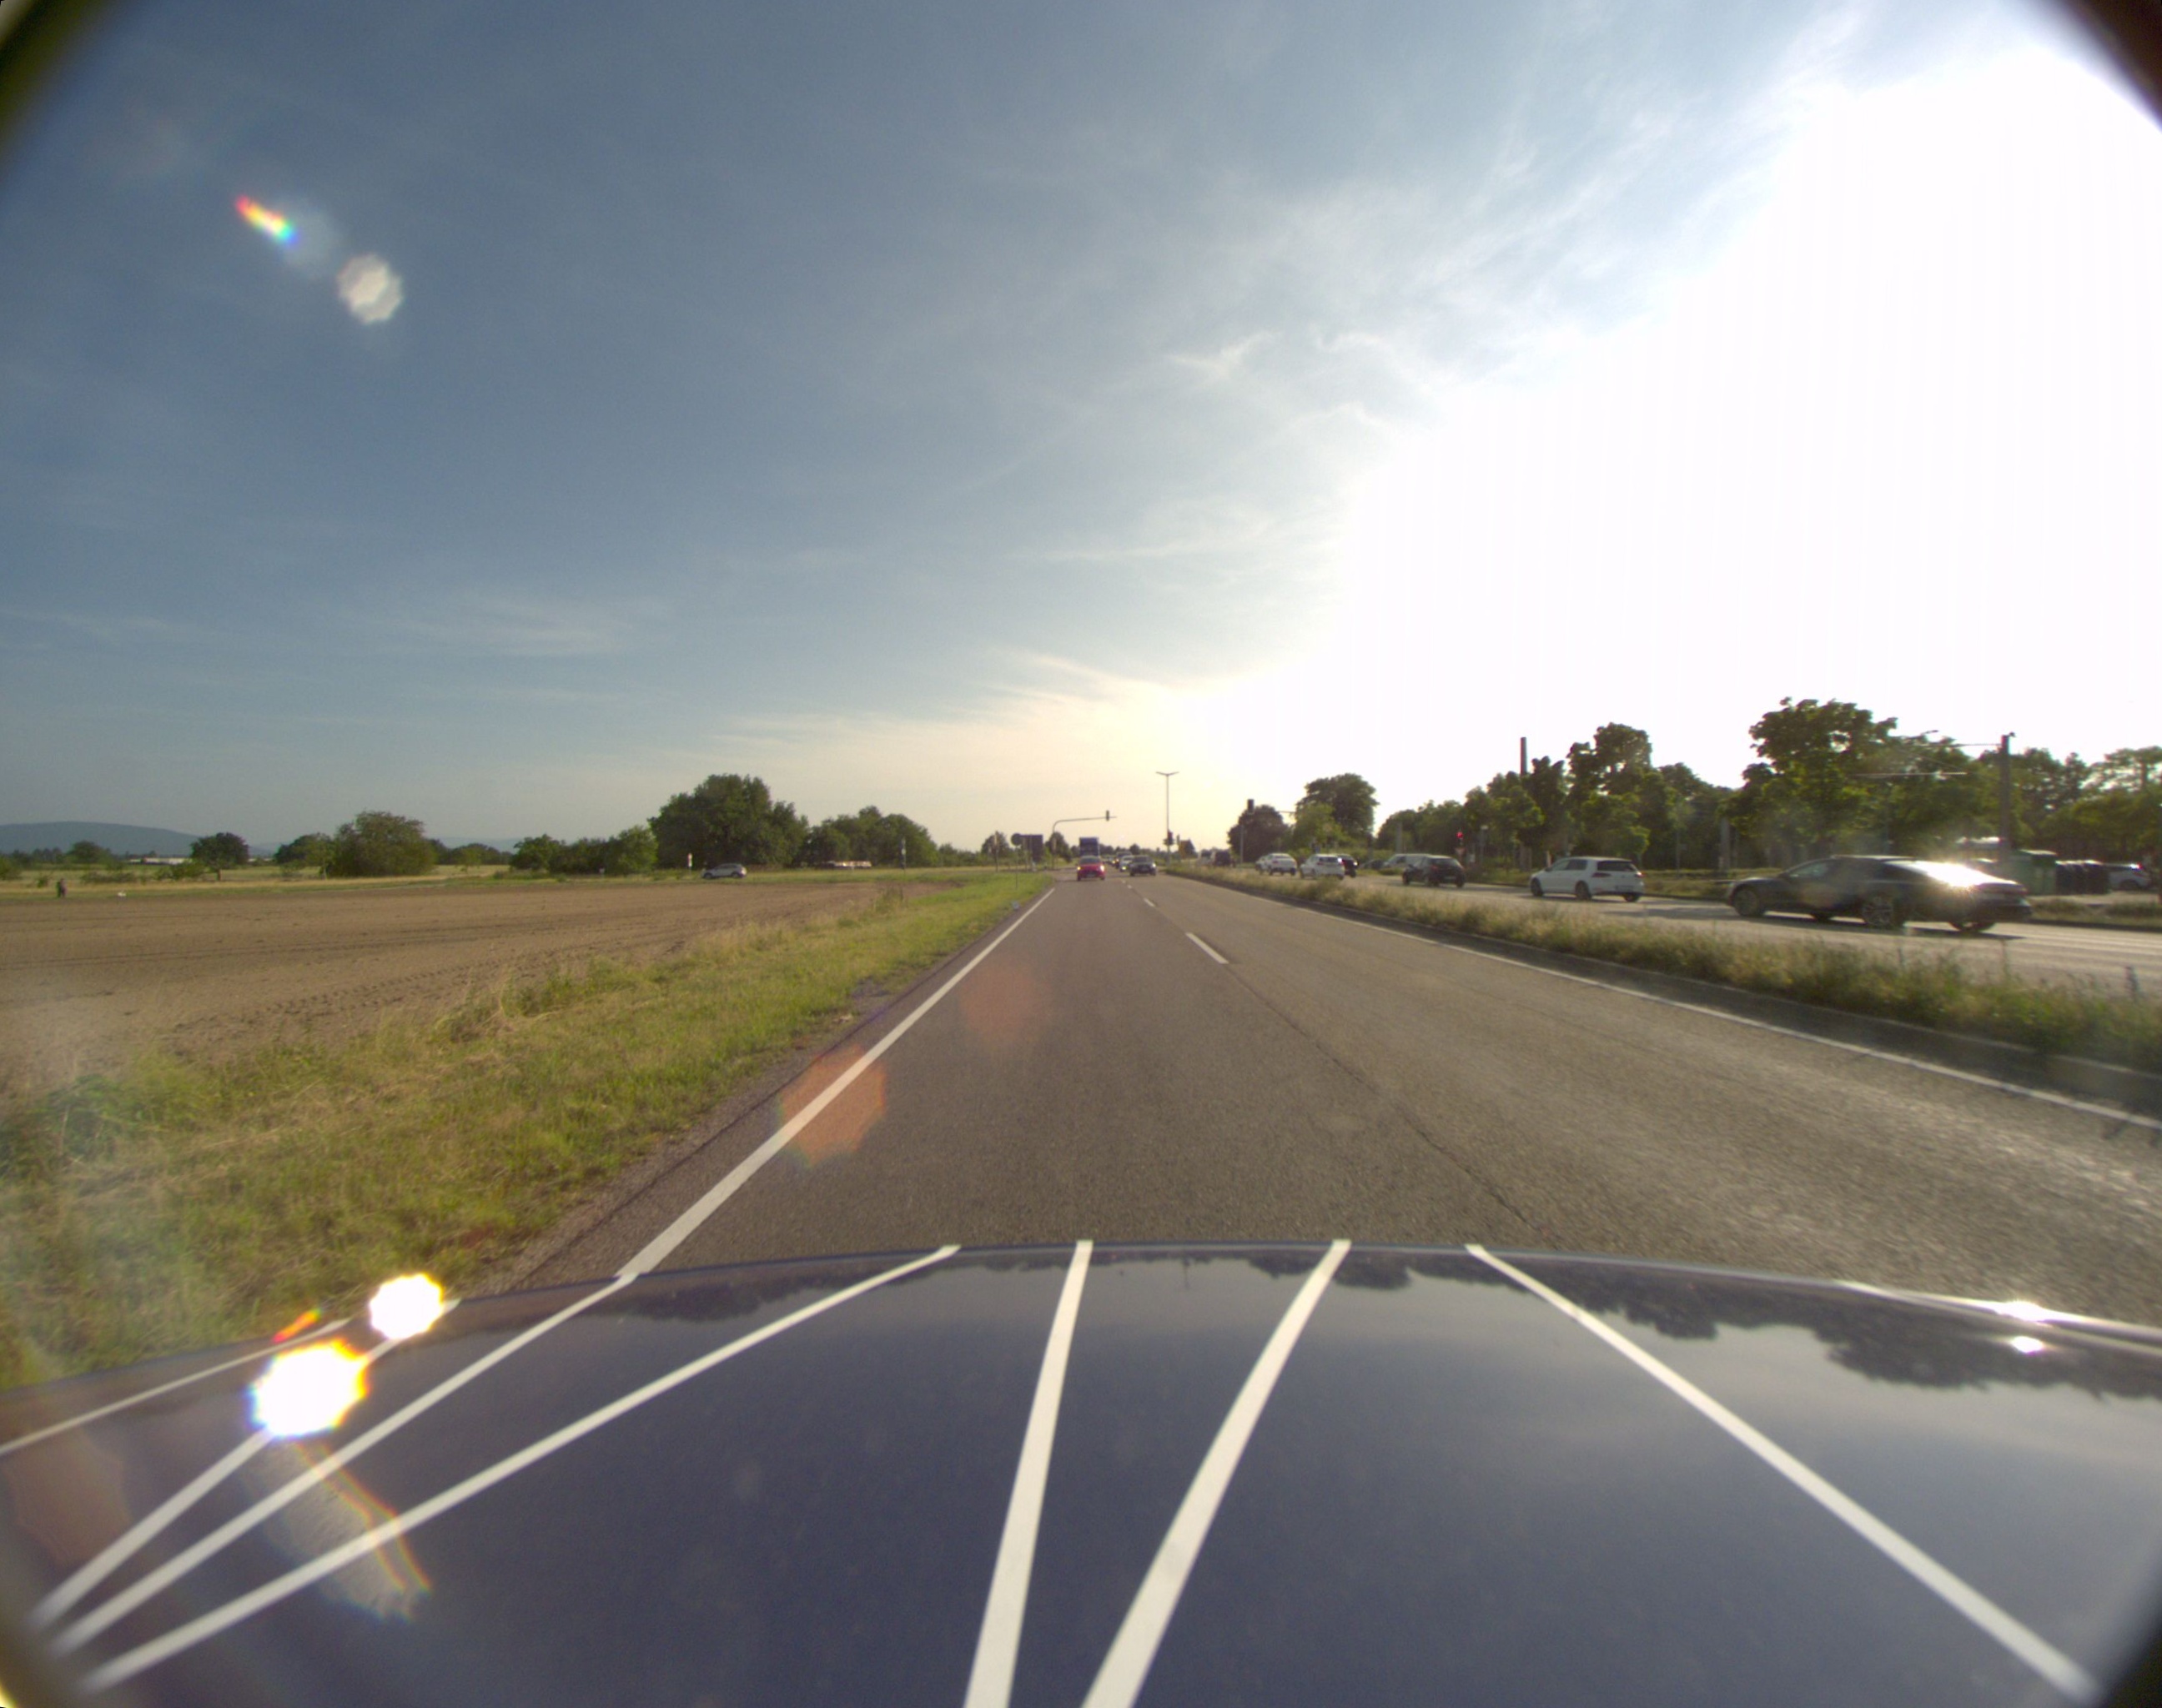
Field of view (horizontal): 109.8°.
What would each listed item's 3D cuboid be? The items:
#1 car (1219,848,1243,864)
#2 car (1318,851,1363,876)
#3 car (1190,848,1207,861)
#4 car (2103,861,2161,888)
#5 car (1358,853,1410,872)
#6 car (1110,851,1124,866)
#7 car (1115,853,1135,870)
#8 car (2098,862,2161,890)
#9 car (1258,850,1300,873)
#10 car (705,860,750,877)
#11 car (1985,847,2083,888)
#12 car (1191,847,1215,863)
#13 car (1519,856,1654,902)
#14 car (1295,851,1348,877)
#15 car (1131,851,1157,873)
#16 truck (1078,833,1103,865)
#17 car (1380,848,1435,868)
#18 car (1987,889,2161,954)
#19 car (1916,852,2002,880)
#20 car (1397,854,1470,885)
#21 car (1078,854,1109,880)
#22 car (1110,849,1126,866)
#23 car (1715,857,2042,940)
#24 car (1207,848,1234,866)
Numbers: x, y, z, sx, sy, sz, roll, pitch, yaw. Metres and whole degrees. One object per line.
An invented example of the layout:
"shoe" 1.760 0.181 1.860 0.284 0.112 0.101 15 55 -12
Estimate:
"car" 18.619 0.236 94.374 1.998 1.961 5.079 2 0 1
"car" 17.773 0.614 52.212 1.801 1.580 4.000 1 0 1
"car" 18.047 0.102 116.925 1.998 1.961 5.079 2 0 1
"car" 63.595 1.188 44.642 2.003 1.529 3.991 -2 0 -28
"car" 33.790 0.947 84.749 4.844 1.876 2.253 -2 0 -4
"car" 4.782 0.604 101.463 1.636 1.833 4.000 -2 0 1
"car" 4.016 0.707 70.133 1.636 1.442 4.000 -2 0 1
"car" 60.958 1.232 42.895 2.003 1.529 3.991 -2 0 -28
"car" 13.873 0.490 53.481 1.756 1.499 4.583 1 0 1
"car" -37.579 1.492 80.833 4.002 1.641 1.997 -2 0 -14
"car" 47.641 0.661 38.016 3.678 1.866 1.831 -2 1 -17
"car" 13.999 0.097 87.494 1.998 1.818 5.079 2 0 1
"car" 17.129 0.803 26.029 1.664 1.373 4.468 1 0 1
"car" 14.128 0.545 44.809 1.823 1.461 4.294 1 0 1
"car" 4.495 0.557 54.695 1.636 1.500 4.000 -2 0 1
"truck" 1.281 -0.643 98.136 2.849 3.896 10.104 -2 0 1
"car" 34.850 0.418 81.178 4.844 1.876 2.253 -2 0 -4
"car" 28.696 1.862 21.189 3.993 1.543 2.002 -2 0 14
"car" 49.022 0.649 42.412 4.003 1.412 1.831 -2 0 -20
"car" 16.880 0.712 36.621 1.664 1.373 4.000 1 0 1
"car" 0.794 0.747 46.153 1.735 1.467 4.000 -2 0 1
"car" 4.090 0.372 85.462 1.636 1.833 4.000 -2 0 1
"car" 16.255 0.805 15.999 1.664 1.407 4.975 1 0 1
"car" 13.883 0.303 75.853 1.862 1.735 4.529 1 0 1
